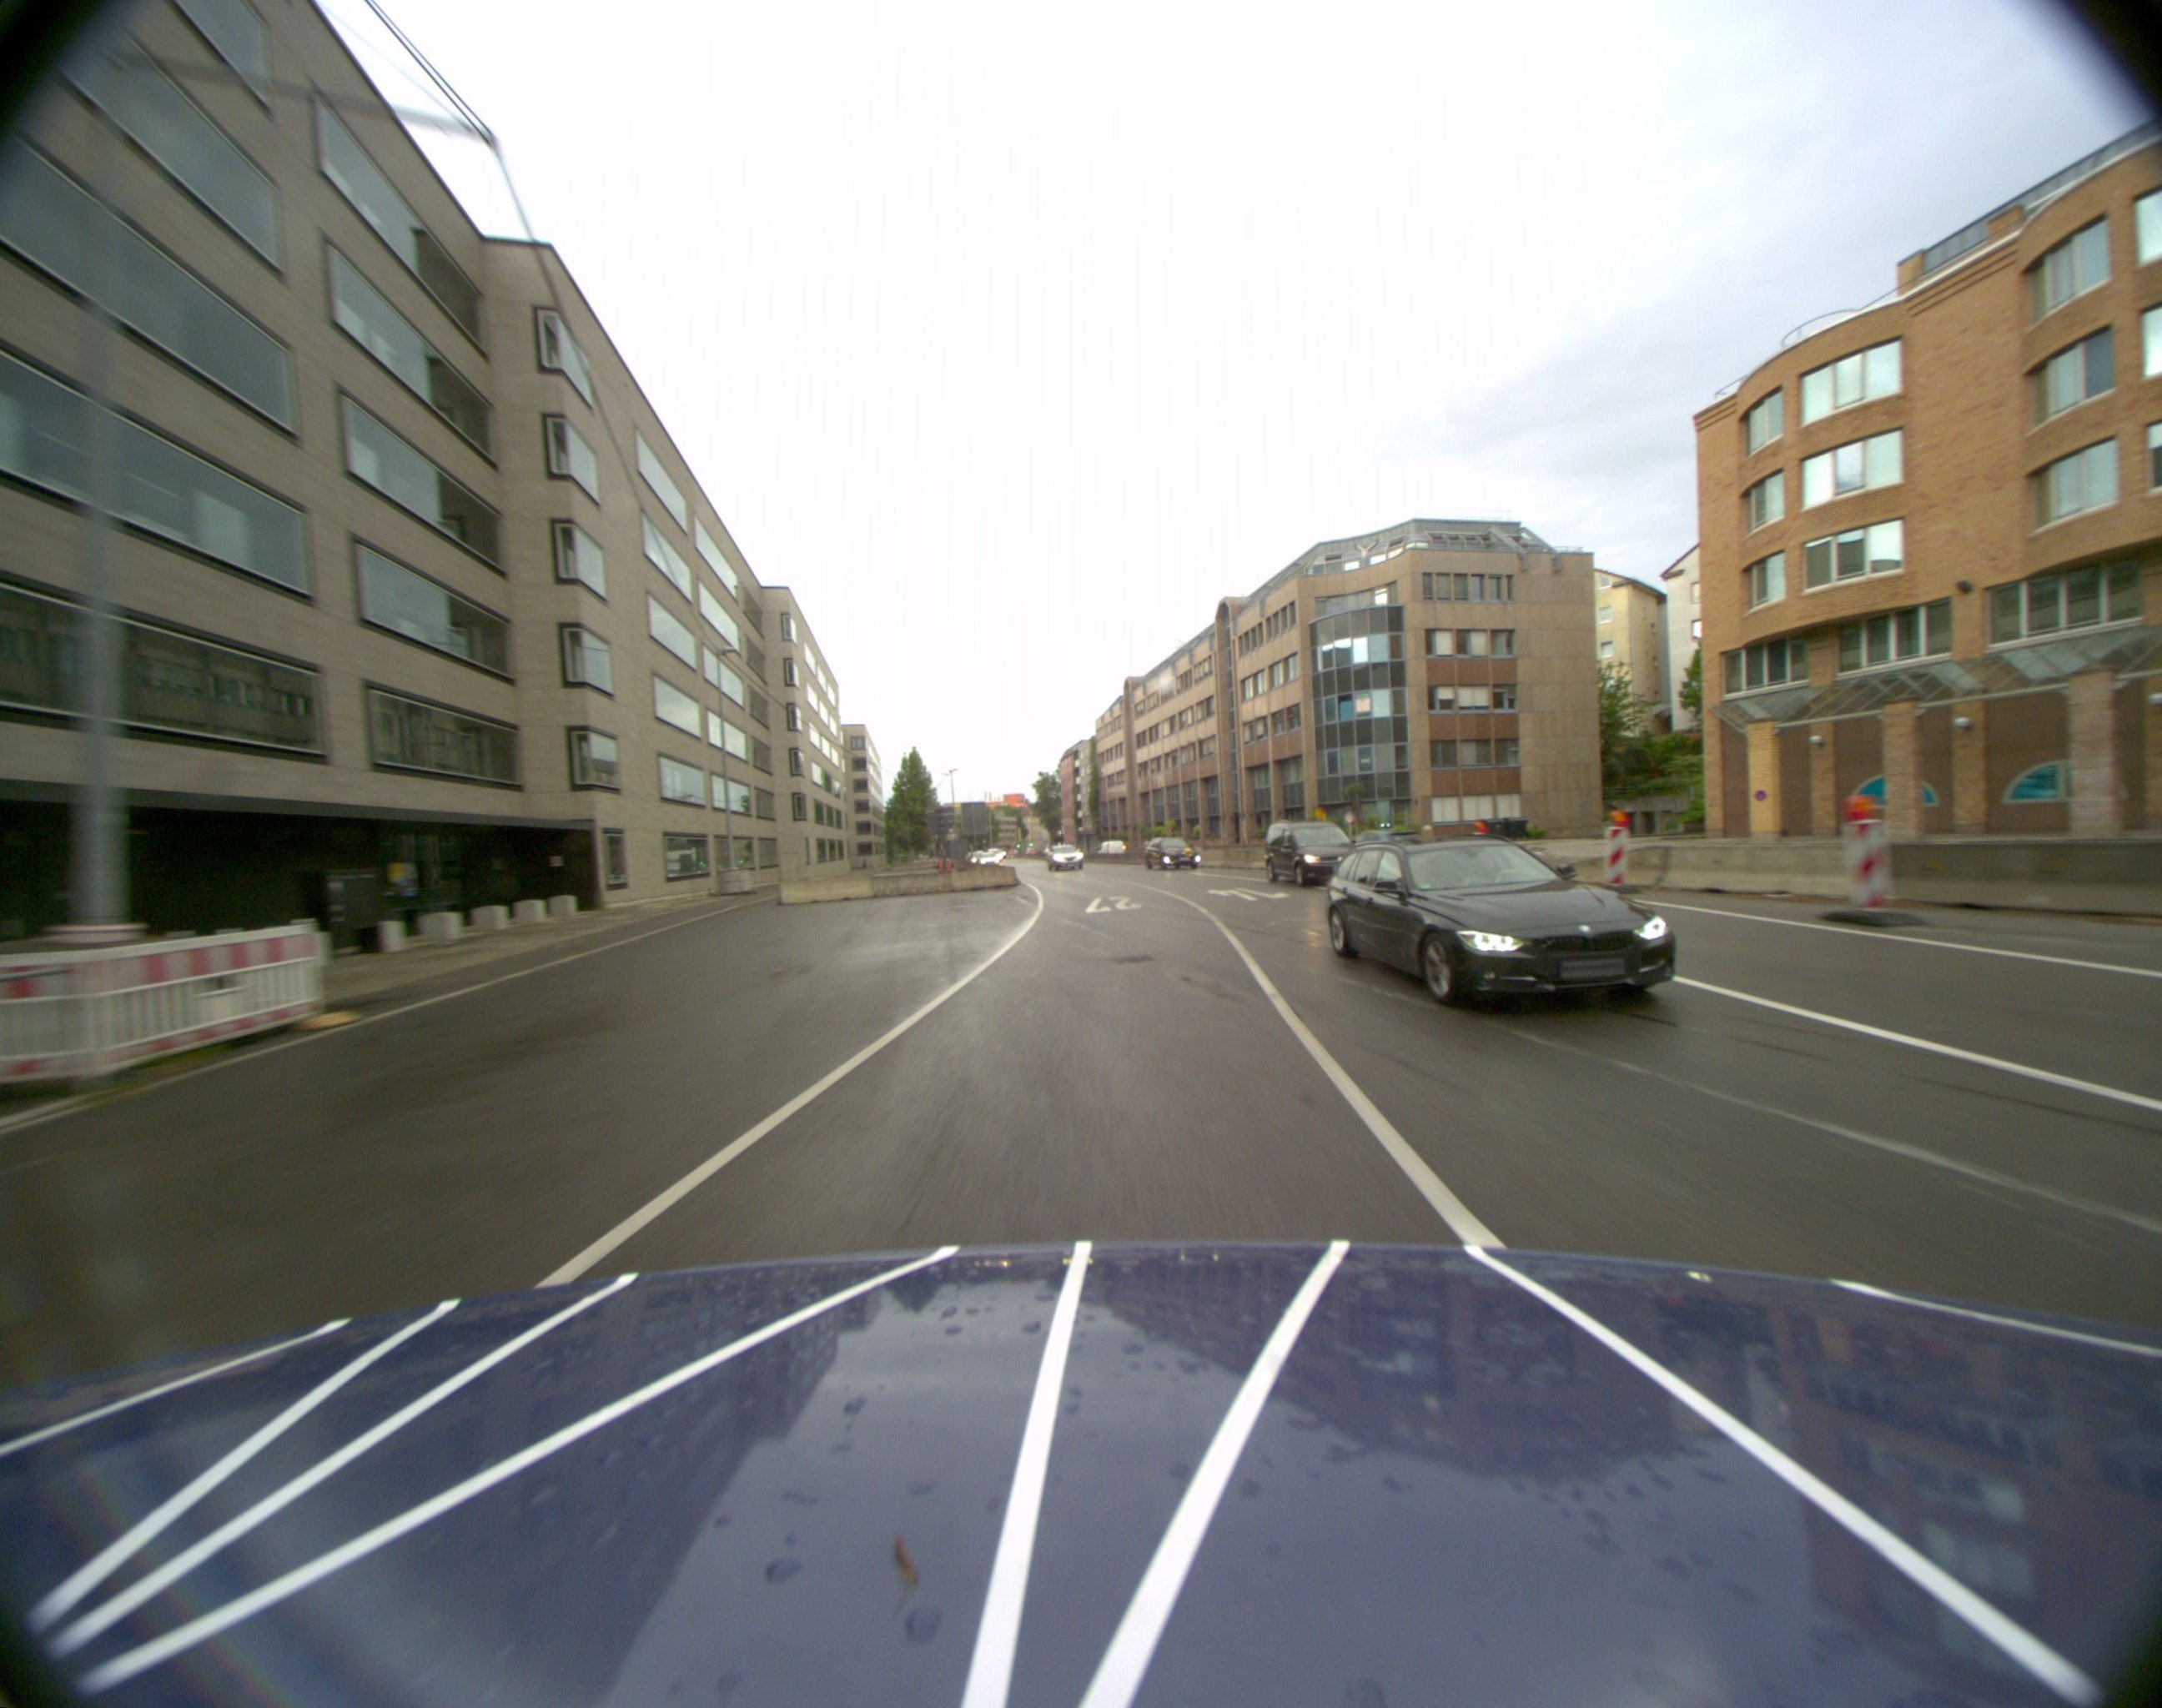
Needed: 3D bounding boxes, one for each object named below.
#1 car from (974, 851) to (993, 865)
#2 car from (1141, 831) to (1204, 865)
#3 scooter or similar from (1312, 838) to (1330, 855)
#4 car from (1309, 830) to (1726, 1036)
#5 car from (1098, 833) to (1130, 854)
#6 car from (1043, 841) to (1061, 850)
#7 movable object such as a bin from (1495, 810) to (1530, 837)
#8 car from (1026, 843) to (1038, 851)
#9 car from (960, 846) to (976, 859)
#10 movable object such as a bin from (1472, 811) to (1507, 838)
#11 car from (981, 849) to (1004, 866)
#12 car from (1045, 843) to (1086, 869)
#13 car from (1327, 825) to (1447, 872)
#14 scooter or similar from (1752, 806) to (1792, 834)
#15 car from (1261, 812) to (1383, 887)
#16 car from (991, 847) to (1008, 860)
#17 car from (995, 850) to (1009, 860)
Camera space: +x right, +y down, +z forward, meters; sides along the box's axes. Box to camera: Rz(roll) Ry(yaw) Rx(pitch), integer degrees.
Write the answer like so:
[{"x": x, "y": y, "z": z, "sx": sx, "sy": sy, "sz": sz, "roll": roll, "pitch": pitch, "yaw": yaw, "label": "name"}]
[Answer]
[{"x": -11.290, "y": 0.414, "z": 87.610, "sx": 1.774, "sy": 1.525, "sz": 4.651, "roll": -4, "pitch": 1, "yaw": -12, "label": "car"}, {"x": 4.505, "y": -0.294, "z": 38.236, "sx": 1.774, "sy": 1.525, "sz": 4.351, "roll": -4, "pitch": 1, "yaw": -12, "label": "car"}, {"x": 14.830, "y": -0.451, "z": 46.891, "sx": 0.450, "sy": 1.057, "sz": 1.043, "roll": -4, "pitch": 1, "yaw": -22, "label": "scooter or similar"}, {"x": 3.946, "y": 0.551, "z": 7.988, "sx": 1.772, "sy": 1.435, "sz": 4.656, "roll": -4, "pitch": 1, "yaw": 2, "label": "car"}, {"x": 2.971, "y": -0.965, "z": 70.159, "sx": 1.892, "sy": 1.773, "sz": 4.872, "roll": -4, "pitch": 1, "yaw": -9, "label": "car"}, {"x": -4.485, "y": -1.316, "z": 118.425, "sx": 1.851, "sy": 1.262, "sz": 4.543, "roll": -4, "pitch": 1, "yaw": -14, "label": "car"}, {"x": 25.538, "y": -1.796, "z": 44.991, "sx": 1.246, "sy": 1.471, "sz": 1.349, "roll": -3, "pitch": 1, "yaw": -4, "label": "movable object such as a bin"}, {"x": -8.977, "y": -1.203, "z": 139.176, "sx": 1.725, "sy": 1.312, "sz": 3.692, "roll": -4, "pitch": 1, "yaw": -12, "label": "car"}, {"x": -15.504, "y": -0.217, "z": 104.008, "sx": 1.774, "sy": 1.525, "sz": 4.651, "roll": -4, "pitch": 1, "yaw": -12, "label": "car"}, {"x": 23.985, "y": -1.722, "z": 44.611, "sx": 1.246, "sy": 1.471, "sz": 1.349, "roll": -3, "pitch": 1, "yaw": -4, "label": "movable object such as a bin"}, {"x": -8.649, "y": 0.312, "z": 73.984, "sx": 1.774, "sy": 1.525, "sz": 4.651, "roll": -4, "pitch": 1, "yaw": -12, "label": "car"}, {"x": -1.075, "y": 0.107, "z": 50.177, "sx": 1.774, "sy": 1.525, "sz": 4.651, "roll": -4, "pitch": 1, "yaw": -12, "label": "car"}, {"x": 10.993, "y": -0.204, "z": 27.664, "sx": 2.000, "sy": 1.451, "sz": 4.224, "roll": -4, "pitch": 1, "yaw": -12, "label": "car"}, {"x": 27.264, "y": -1.340, "z": 29.996, "sx": 0.450, "sy": 1.057, "sz": 1.043, "roll": -4, "pitch": 1, "yaw": -22, "label": "scooter or similar"}, {"x": 6.620, "y": -0.155, "z": 21.386, "sx": 1.799, "sy": 1.790, "sz": 4.249, "roll": -4, "pitch": 1, "yaw": -3, "label": "car"}, {"x": -11.073, "y": -0.069, "z": 102.553, "sx": 1.774, "sy": 1.525, "sz": 4.651, "roll": -4, "pitch": 1, "yaw": -12, "label": "car"}, {"x": -12.963, "y": 0.084, "z": 124.316, "sx": 1.774, "sy": 1.525, "sz": 4.651, "roll": -4, "pitch": 1, "yaw": -12, "label": "car"}]
